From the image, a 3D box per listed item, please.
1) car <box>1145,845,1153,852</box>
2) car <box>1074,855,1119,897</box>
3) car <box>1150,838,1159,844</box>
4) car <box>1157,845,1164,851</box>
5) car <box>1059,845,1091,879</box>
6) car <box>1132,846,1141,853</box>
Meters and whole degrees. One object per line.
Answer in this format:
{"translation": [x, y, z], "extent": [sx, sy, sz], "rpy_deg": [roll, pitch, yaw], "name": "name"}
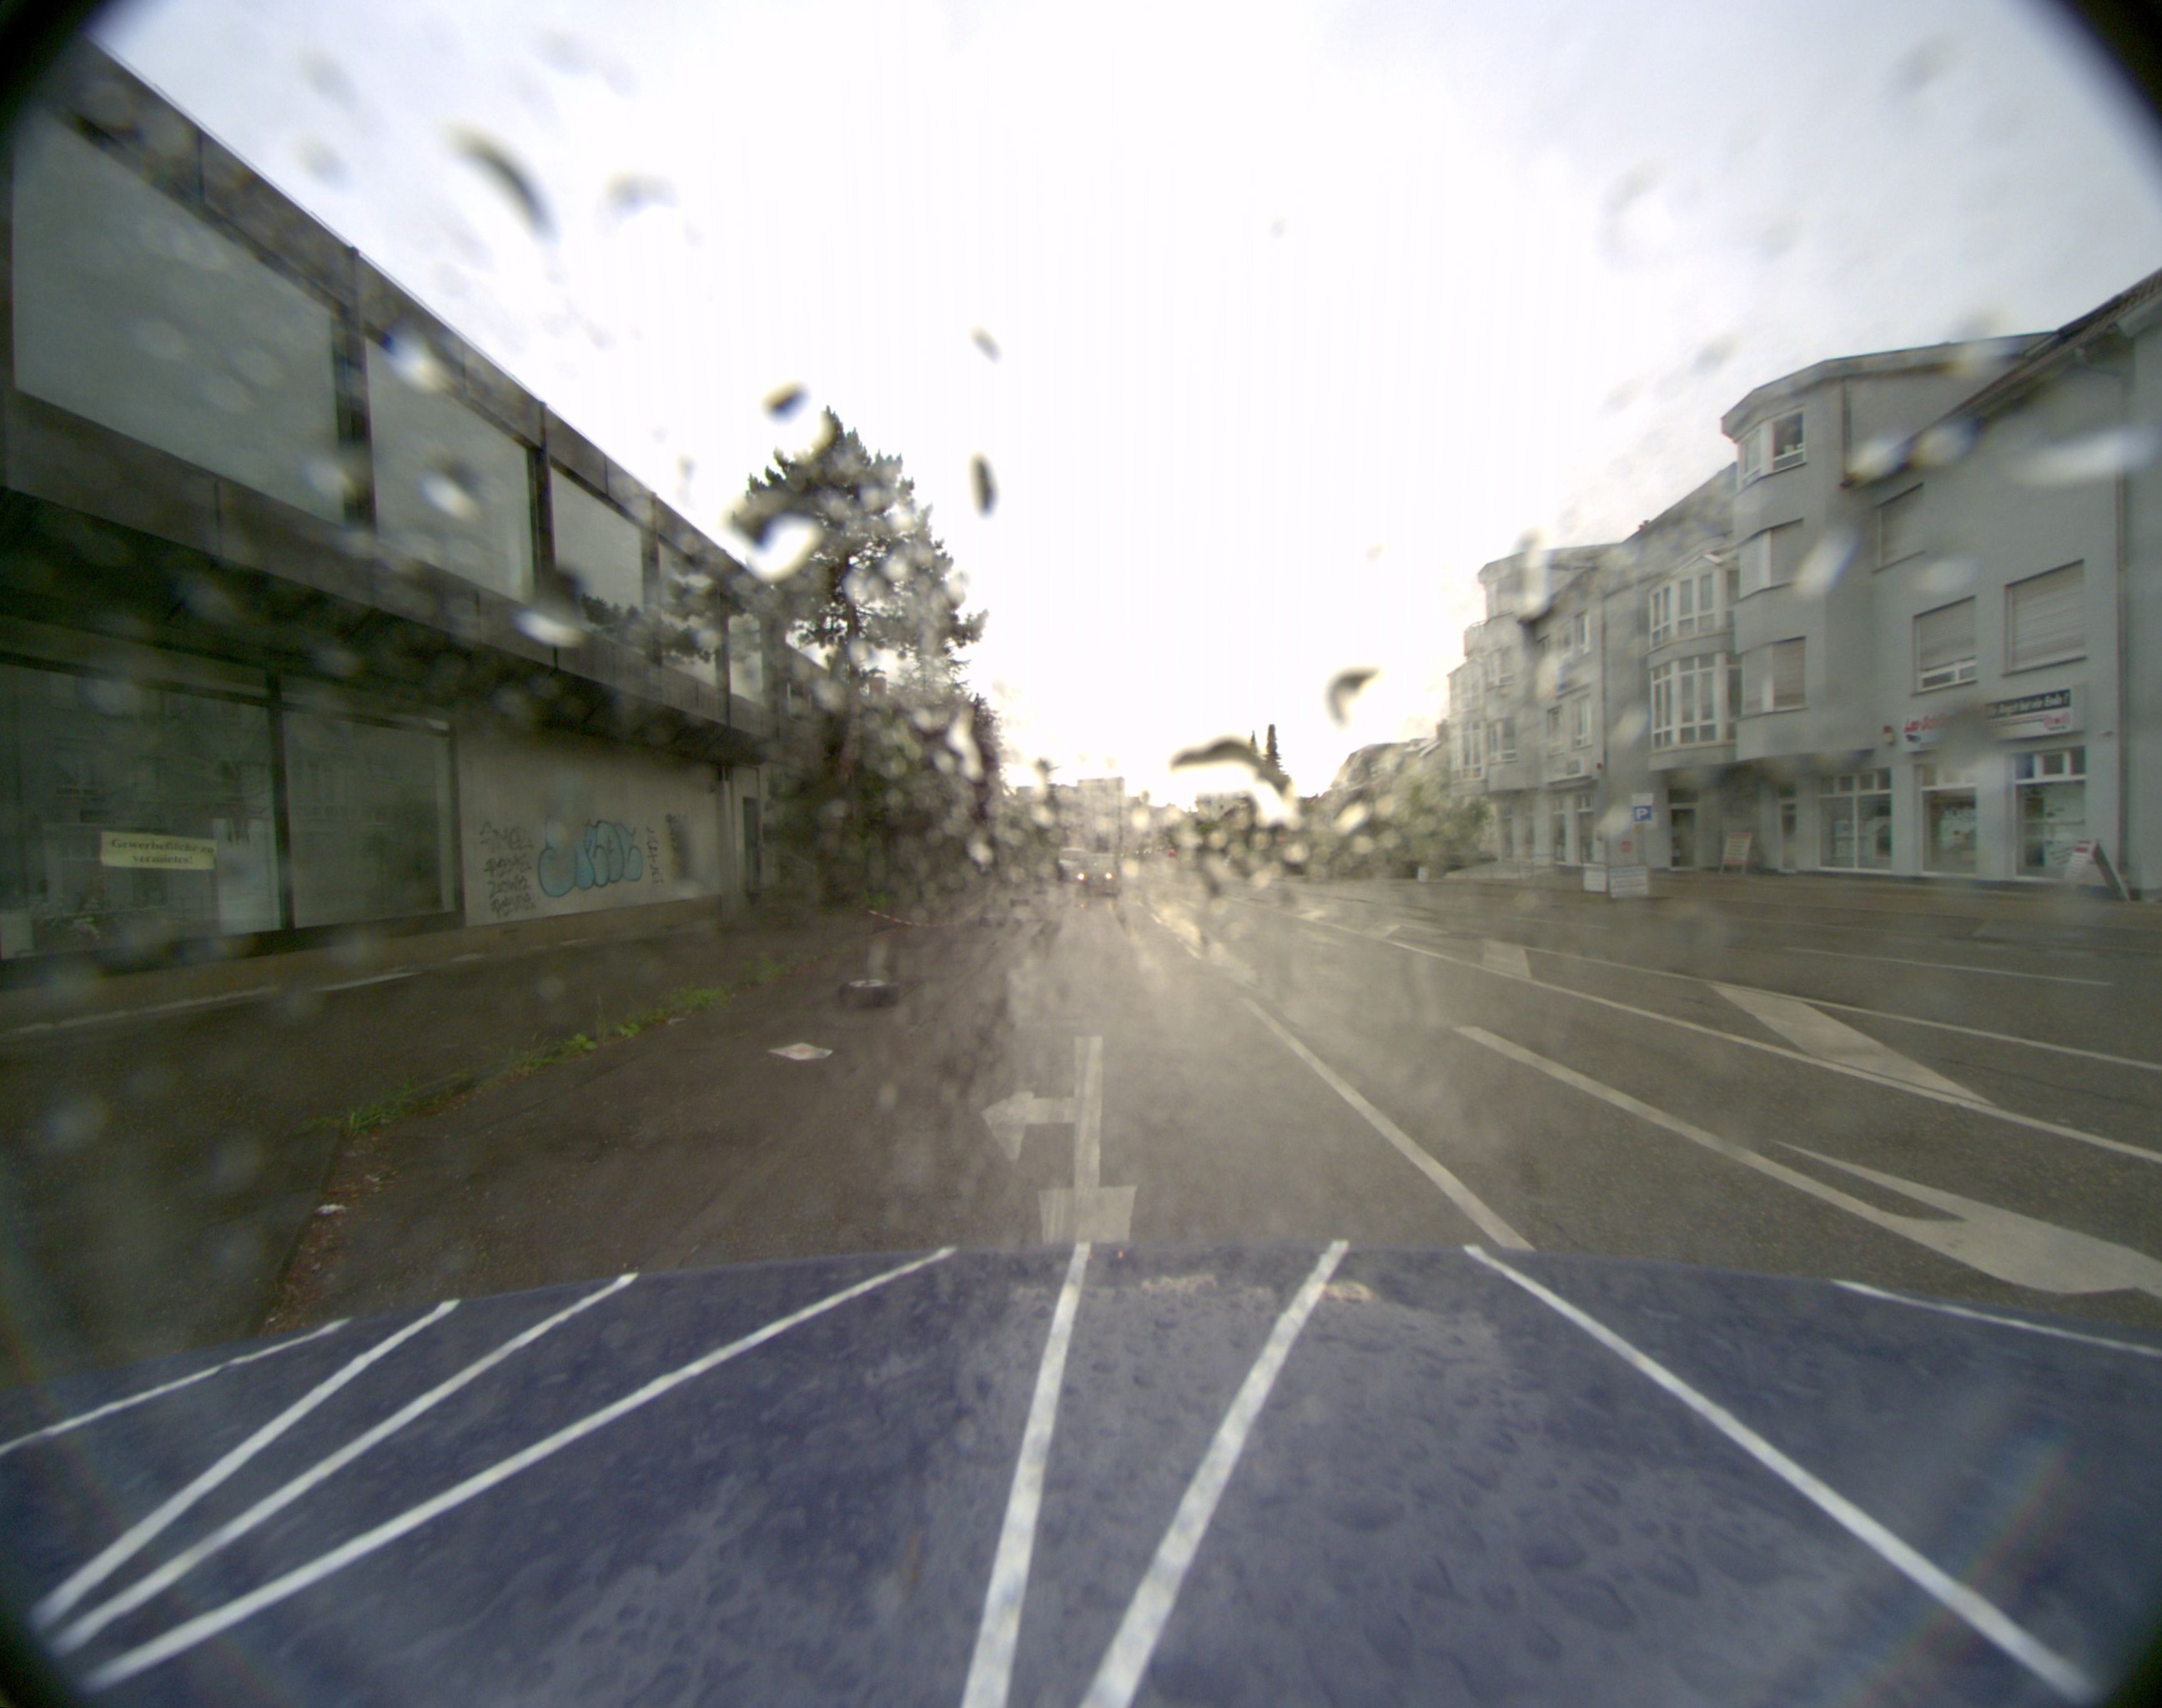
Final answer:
{"translation": [19.651, -1.614, 219.723], "extent": [1.998, 1.774, 4.000], "rpy_deg": [-2, 1, 3], "name": "car"}
{"translation": [0.644, 0.876, 32.389], "extent": [1.754, 1.534, 4.676], "rpy_deg": [-1, 1, 1], "name": "car"}
{"translation": [23.406, -4.076, 241.934], "extent": [1.996, 1.808, 4.003], "rpy_deg": [-2, 1, 14], "name": "car"}
{"translation": [24.817, -1.895, 236.176], "extent": [1.997, 1.808, 4.002], "rpy_deg": [-2, 1, 8], "name": "car"}
{"translation": [-0.348, 0.475, 50.405], "extent": [1.998, 2.072, 3.999], "rpy_deg": [-2, 1, 1], "name": "car"}
{"translation": [14.784, -1.180, 202.709], "extent": [1.998, 1.723, 3.999], "rpy_deg": [-2, 1, 1], "name": "car"}
